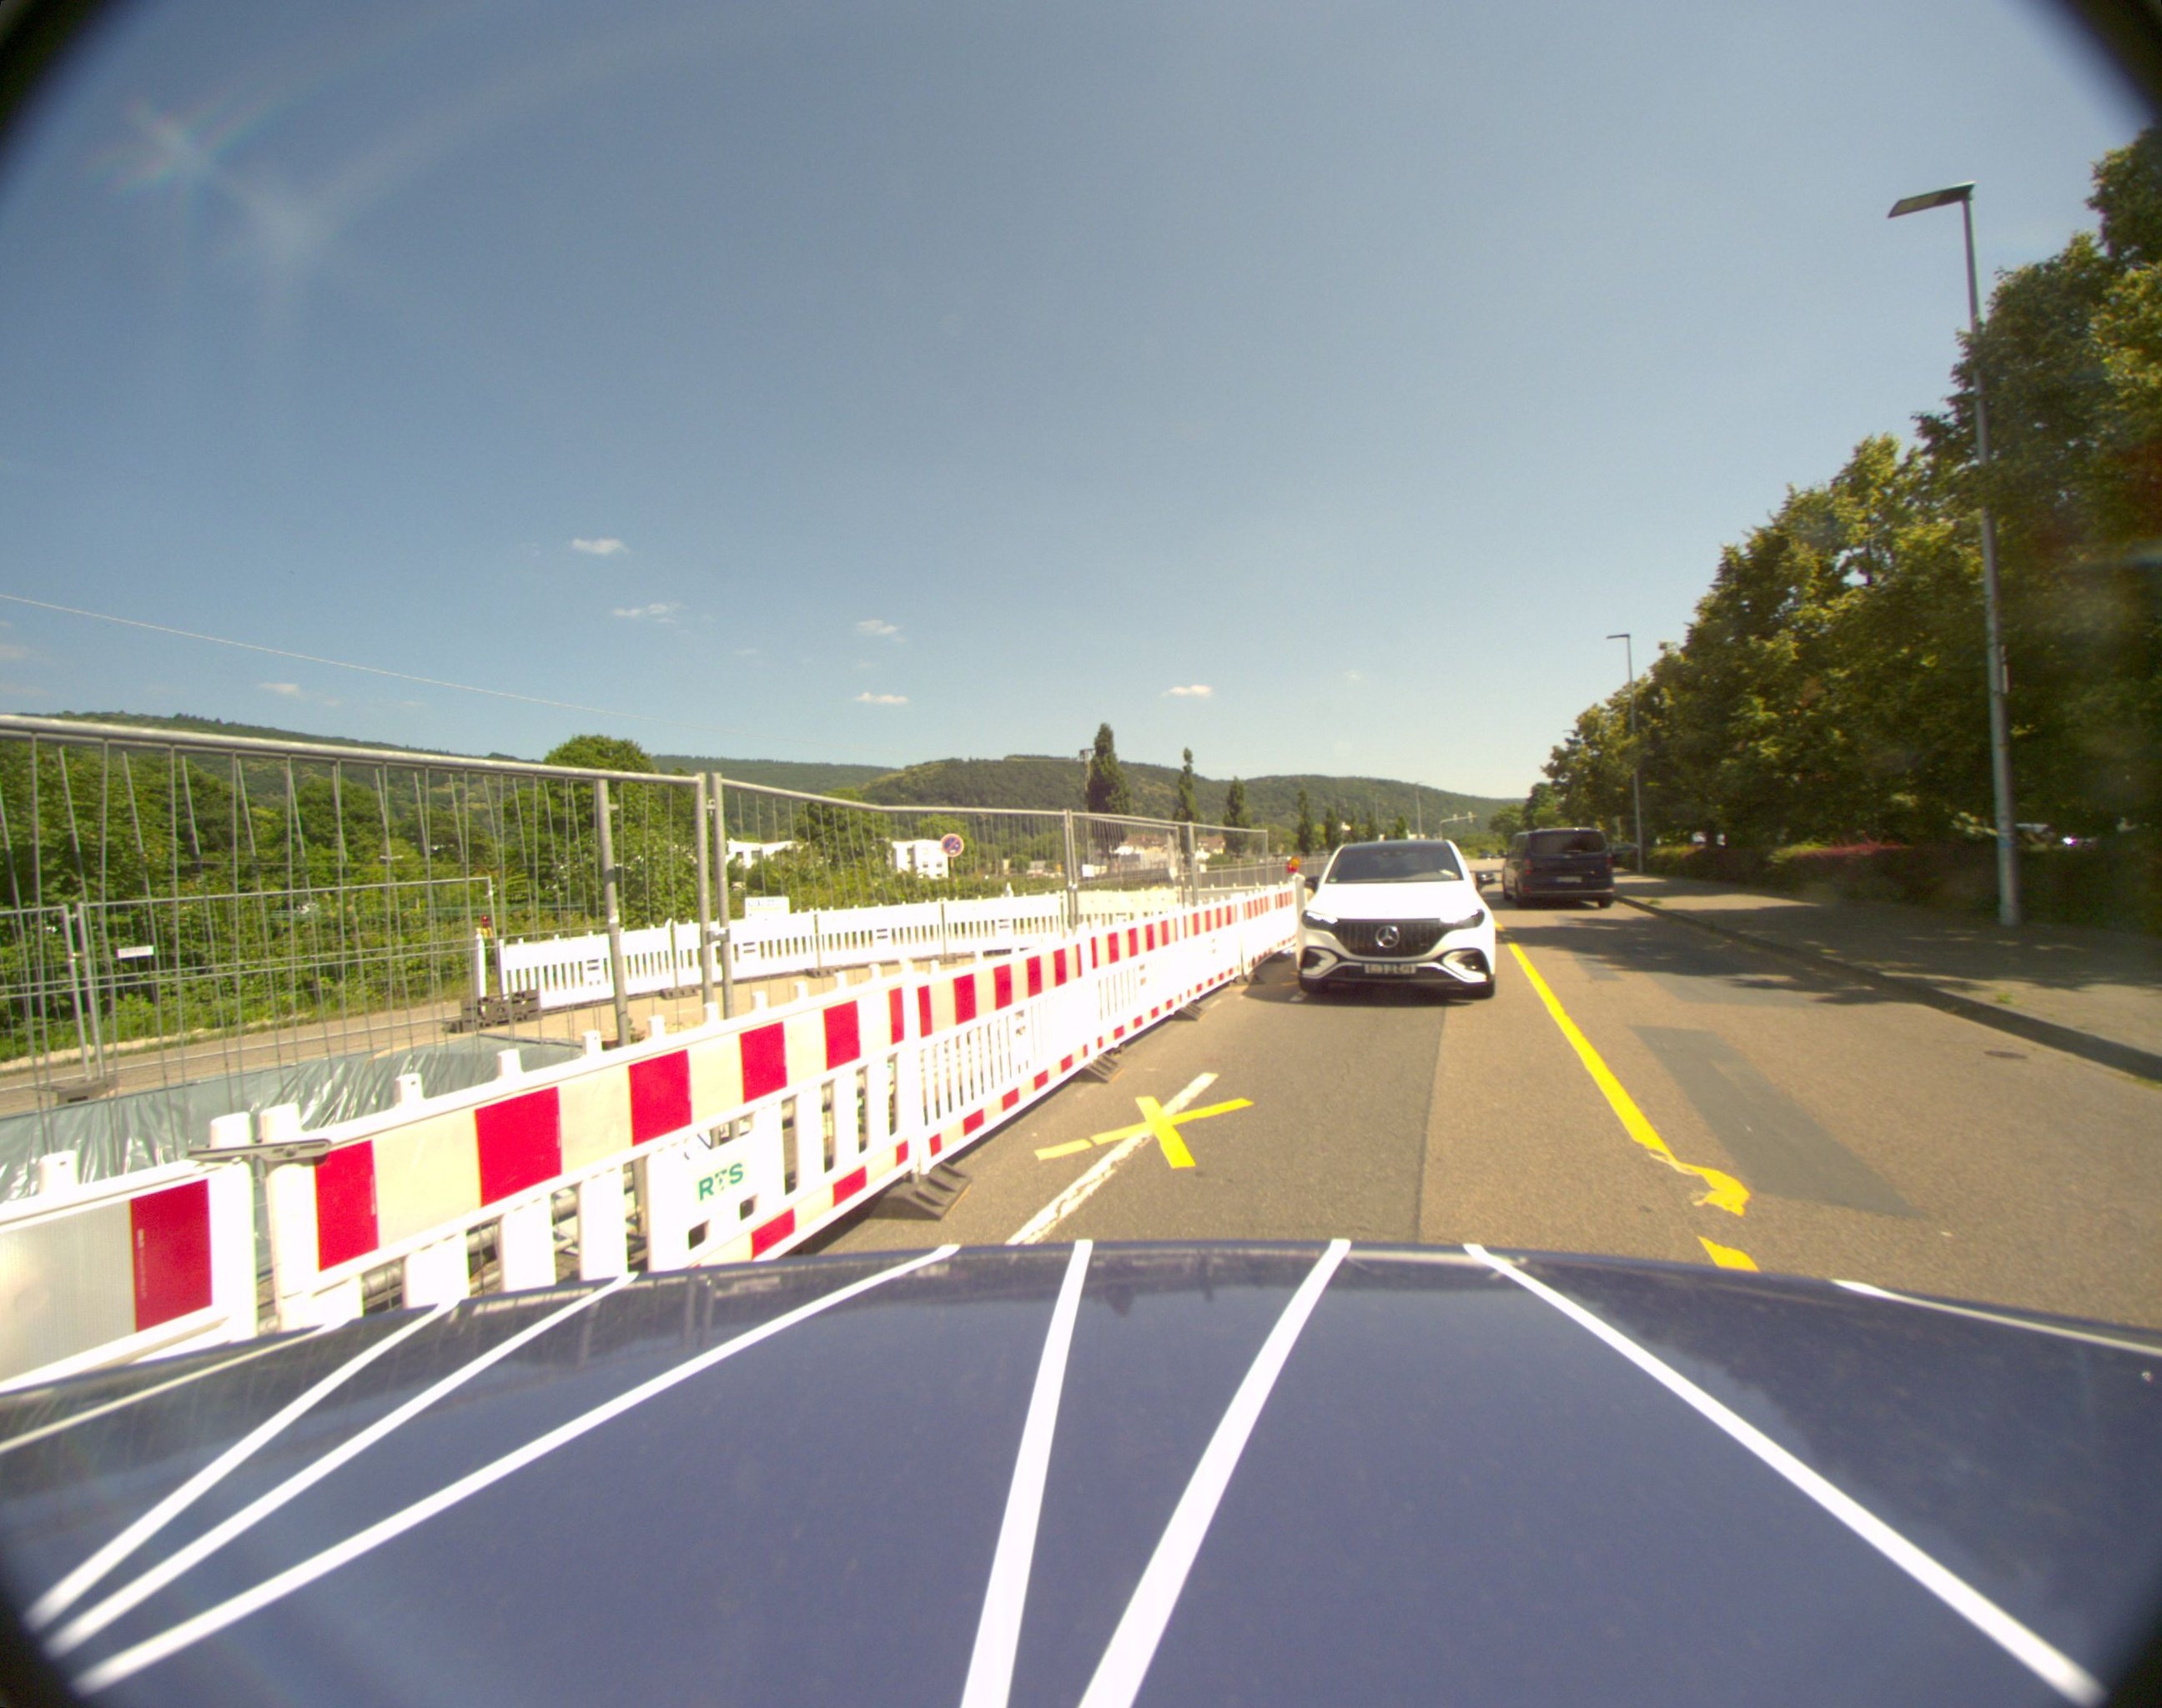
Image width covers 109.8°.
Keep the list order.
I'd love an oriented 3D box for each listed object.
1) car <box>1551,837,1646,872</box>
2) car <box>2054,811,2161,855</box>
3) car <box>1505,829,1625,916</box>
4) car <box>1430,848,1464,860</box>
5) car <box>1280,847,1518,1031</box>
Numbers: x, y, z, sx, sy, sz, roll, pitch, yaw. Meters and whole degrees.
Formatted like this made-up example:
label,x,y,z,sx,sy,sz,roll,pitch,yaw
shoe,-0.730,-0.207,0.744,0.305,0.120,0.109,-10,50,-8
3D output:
label,x,y,z,sx,sy,sz,roll,pitch,yaw
car,27.505,0.030,40.576,3.991,1.455,1.884,-6,-1,31
car,39.410,-0.788,28.102,1.918,1.542,4.146,-3,-1,11
car,12.486,0.369,19.974,2.178,1.957,5.453,0,1,27
car,51.992,0.045,108.130,2.000,1.635,4.523,-2,0,-12
car,3.962,0.785,9.449,1.995,1.635,5.040,-3,-1,24
